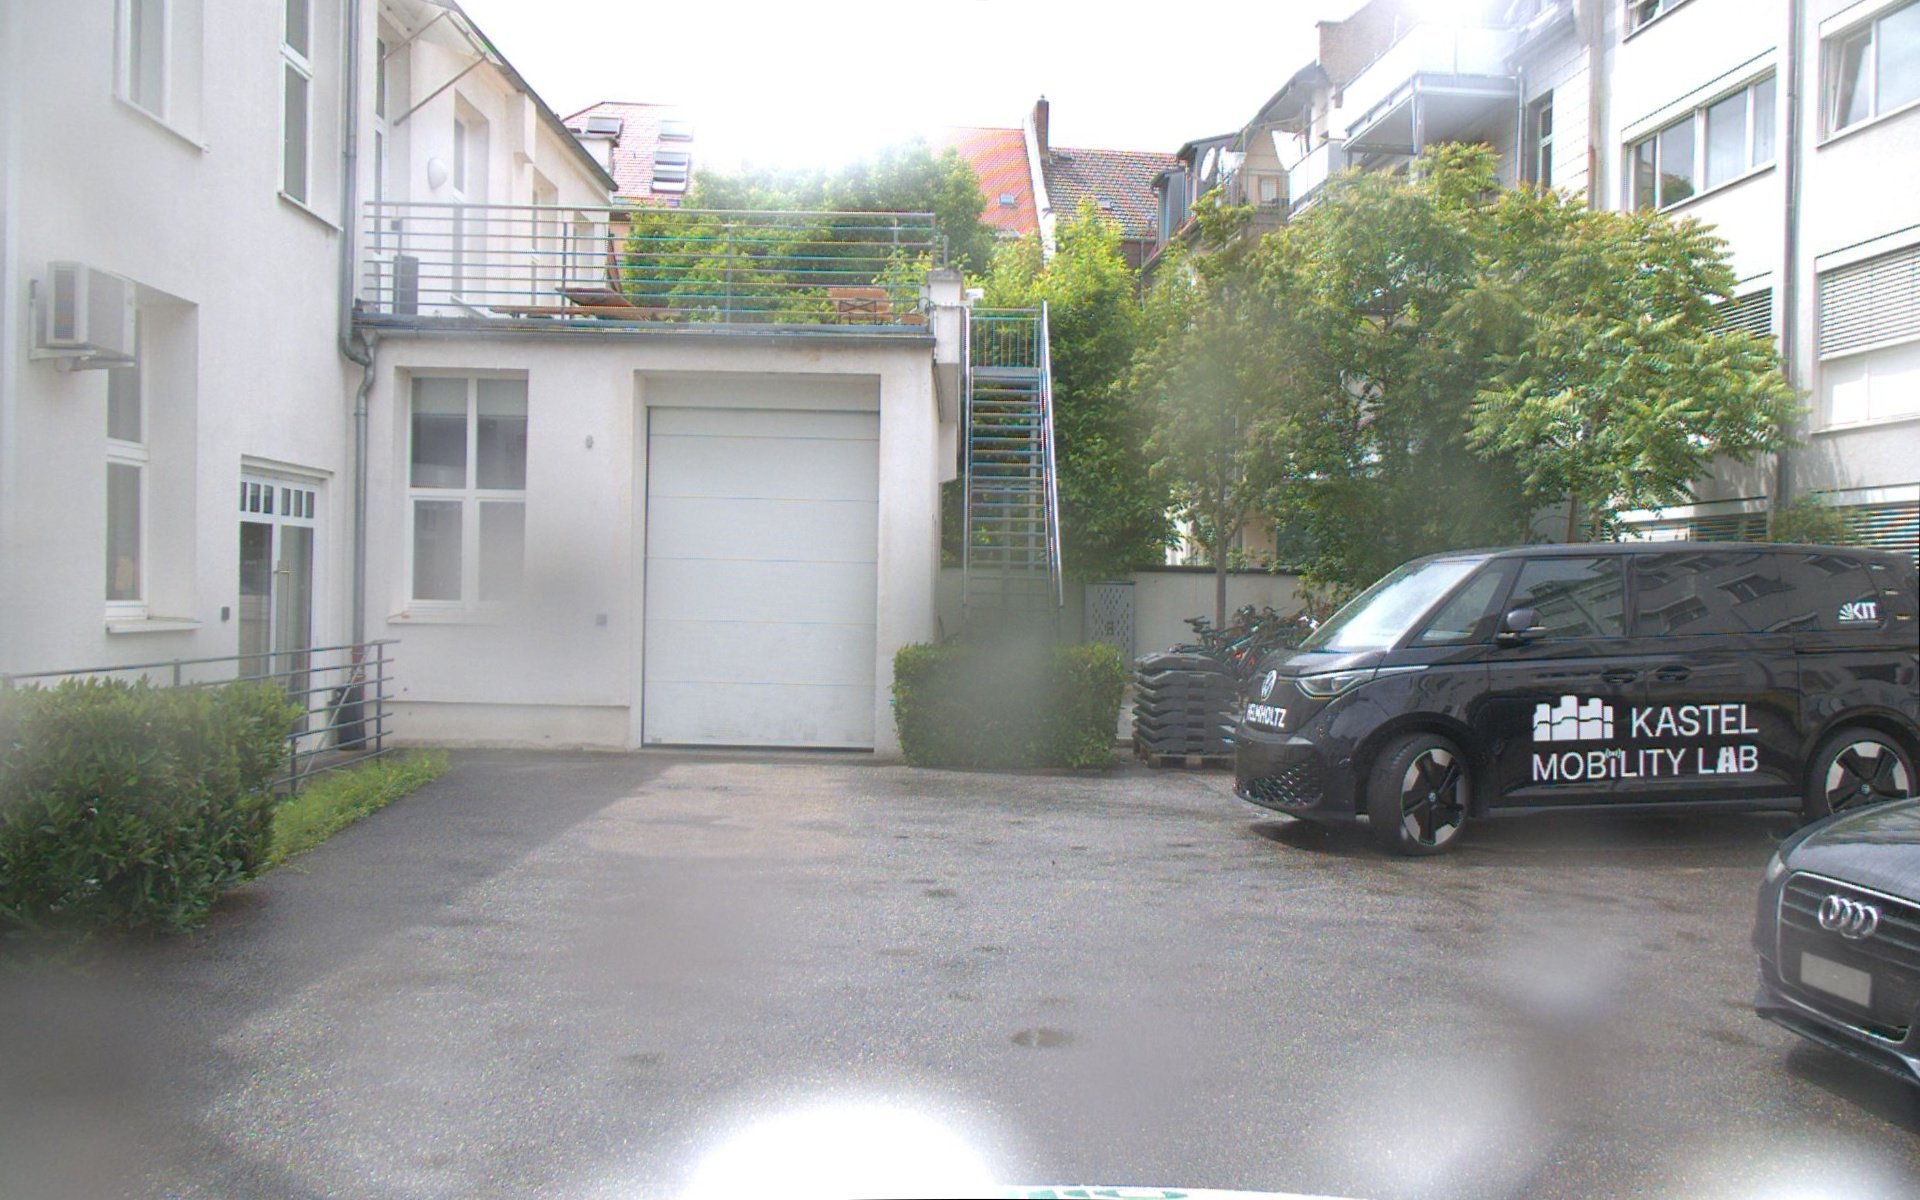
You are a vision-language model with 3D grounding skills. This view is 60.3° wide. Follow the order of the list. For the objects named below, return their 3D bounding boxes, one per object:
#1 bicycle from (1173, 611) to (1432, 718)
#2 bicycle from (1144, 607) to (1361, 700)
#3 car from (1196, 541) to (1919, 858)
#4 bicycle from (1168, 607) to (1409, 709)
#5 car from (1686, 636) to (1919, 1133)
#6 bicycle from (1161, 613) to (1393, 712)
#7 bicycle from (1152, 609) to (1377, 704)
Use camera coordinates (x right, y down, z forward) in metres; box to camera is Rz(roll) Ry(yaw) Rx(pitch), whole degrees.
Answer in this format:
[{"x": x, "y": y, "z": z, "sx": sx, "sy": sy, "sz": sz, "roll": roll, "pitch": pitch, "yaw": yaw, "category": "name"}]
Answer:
[{"x": 4.003, "y": 0.745, "z": 19.431, "sx": 2.865, "sy": 1.097, "sz": 0.689, "roll": 2, "pitch": 1, "yaw": -4, "category": "bicycle"}, {"x": 3.953, "y": 0.720, "z": 22.462, "sx": 2.787, "sy": 1.097, "sz": 0.689, "roll": 2, "pitch": 1, "yaw": -3, "category": "bicycle"}, {"x": 4.100, "y": 0.569, "z": 11.086, "sx": 4.620, "sy": 1.865, "sz": 2.107, "roll": 0, "pitch": 0, "yaw": -7, "category": "car"}, {"x": 4.013, "y": 0.710, "z": 20.319, "sx": 2.787, "sy": 1.097, "sz": 0.689, "roll": 2, "pitch": 1, "yaw": -3, "category": "bicycle"}, {"x": 4.837, "y": 0.848, "z": 5.286, "sx": 4.271, "sy": 1.372, "sz": 1.858, "roll": 0, "pitch": 1, "yaw": -7, "category": "car"}, {"x": 4.017, "y": 0.786, "z": 21.045, "sx": 2.787, "sy": 1.097, "sz": 0.689, "roll": 2, "pitch": 1, "yaw": -3, "category": "bicycle"}, {"x": 3.987, "y": 0.731, "z": 21.758, "sx": 2.787, "sy": 1.097, "sz": 0.689, "roll": 2, "pitch": 1, "yaw": -3, "category": "bicycle"}]
